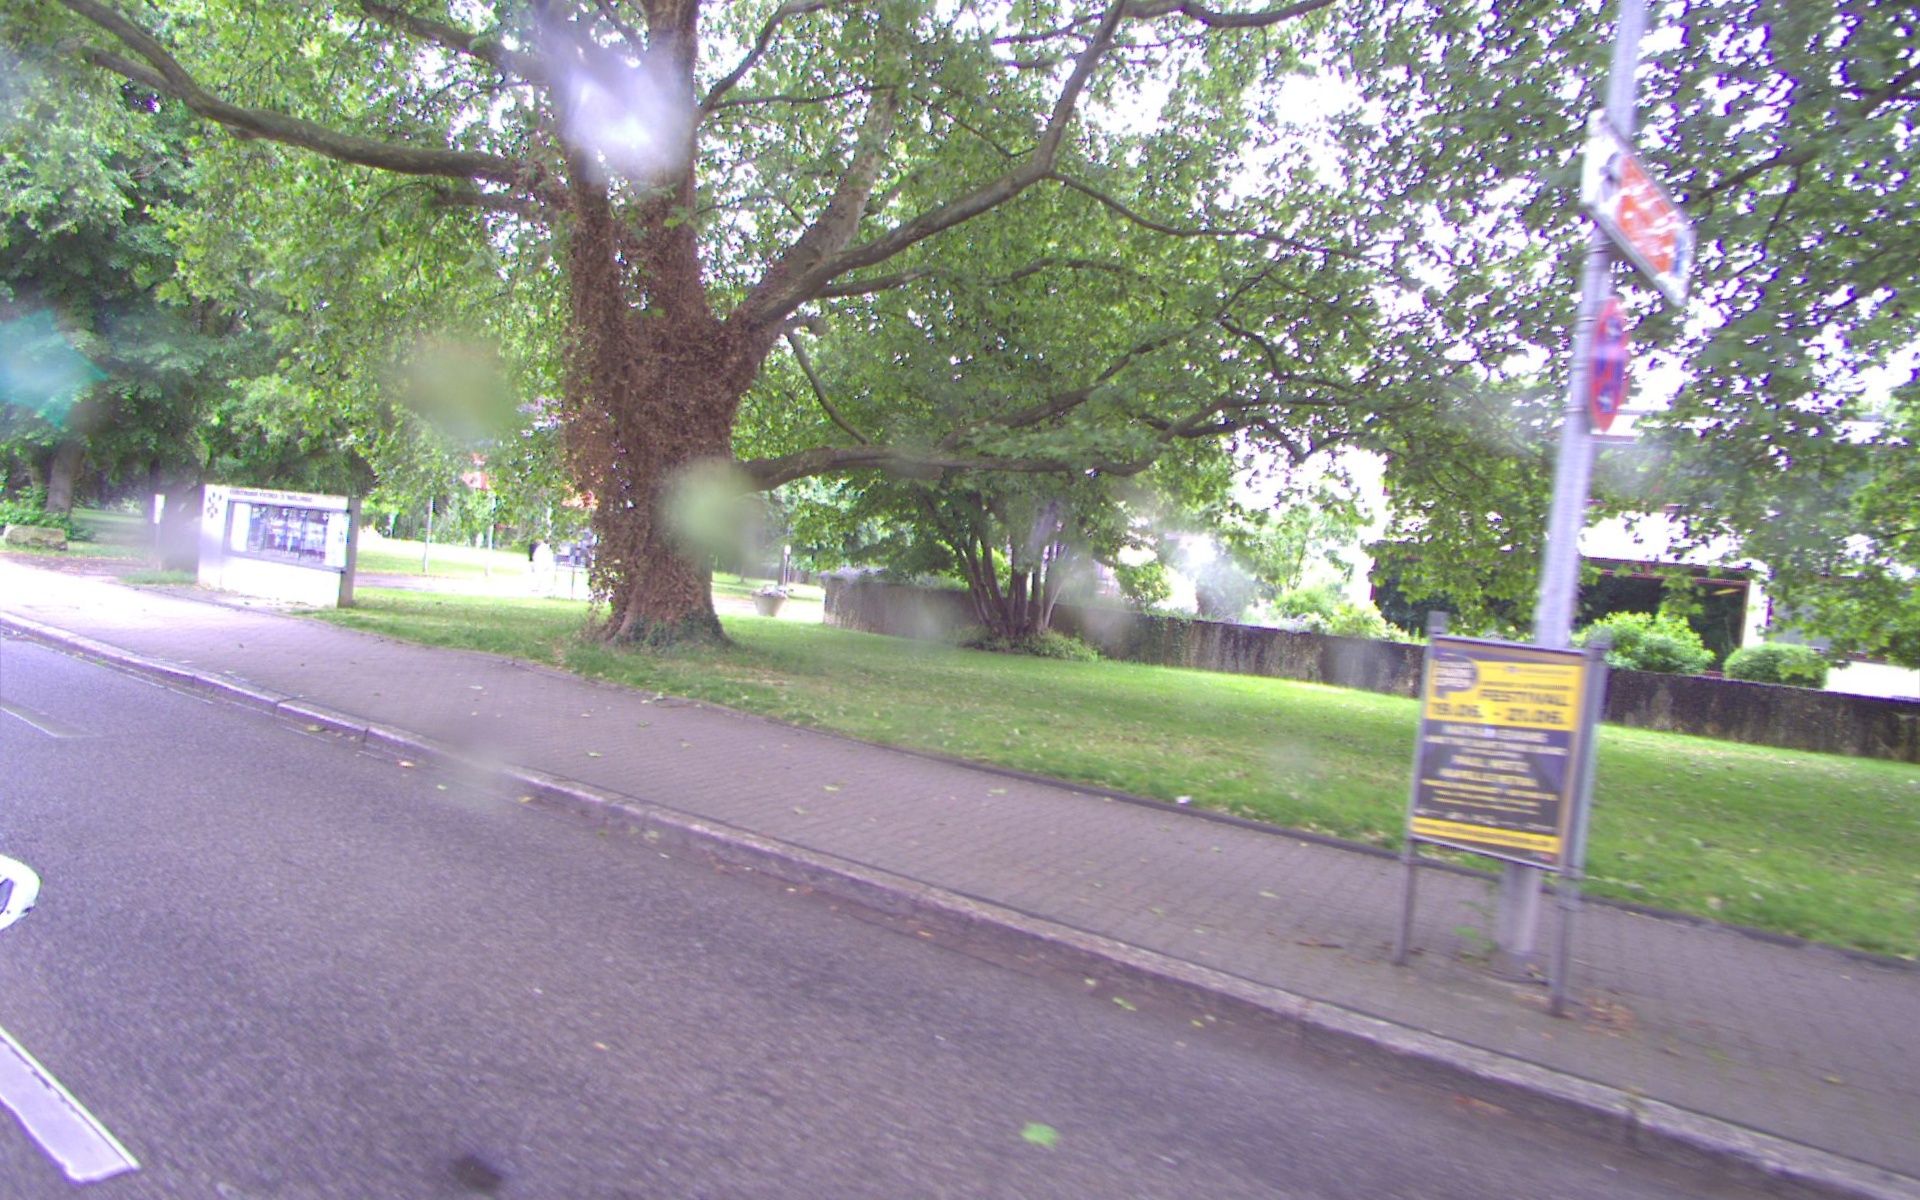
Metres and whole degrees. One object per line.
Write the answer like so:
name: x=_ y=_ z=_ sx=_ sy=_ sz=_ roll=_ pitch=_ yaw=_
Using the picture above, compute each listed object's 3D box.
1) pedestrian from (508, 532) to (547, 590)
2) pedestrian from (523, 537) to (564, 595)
pedestrian: x=-14.060 y=-1.264 z=32.693 sx=0.711 sy=1.776 sz=0.666 roll=6 pitch=-1 yaw=23
pedestrian: x=-13.286 y=-1.091 z=32.128 sx=0.776 sy=1.732 sz=0.666 roll=6 pitch=-1 yaw=23
